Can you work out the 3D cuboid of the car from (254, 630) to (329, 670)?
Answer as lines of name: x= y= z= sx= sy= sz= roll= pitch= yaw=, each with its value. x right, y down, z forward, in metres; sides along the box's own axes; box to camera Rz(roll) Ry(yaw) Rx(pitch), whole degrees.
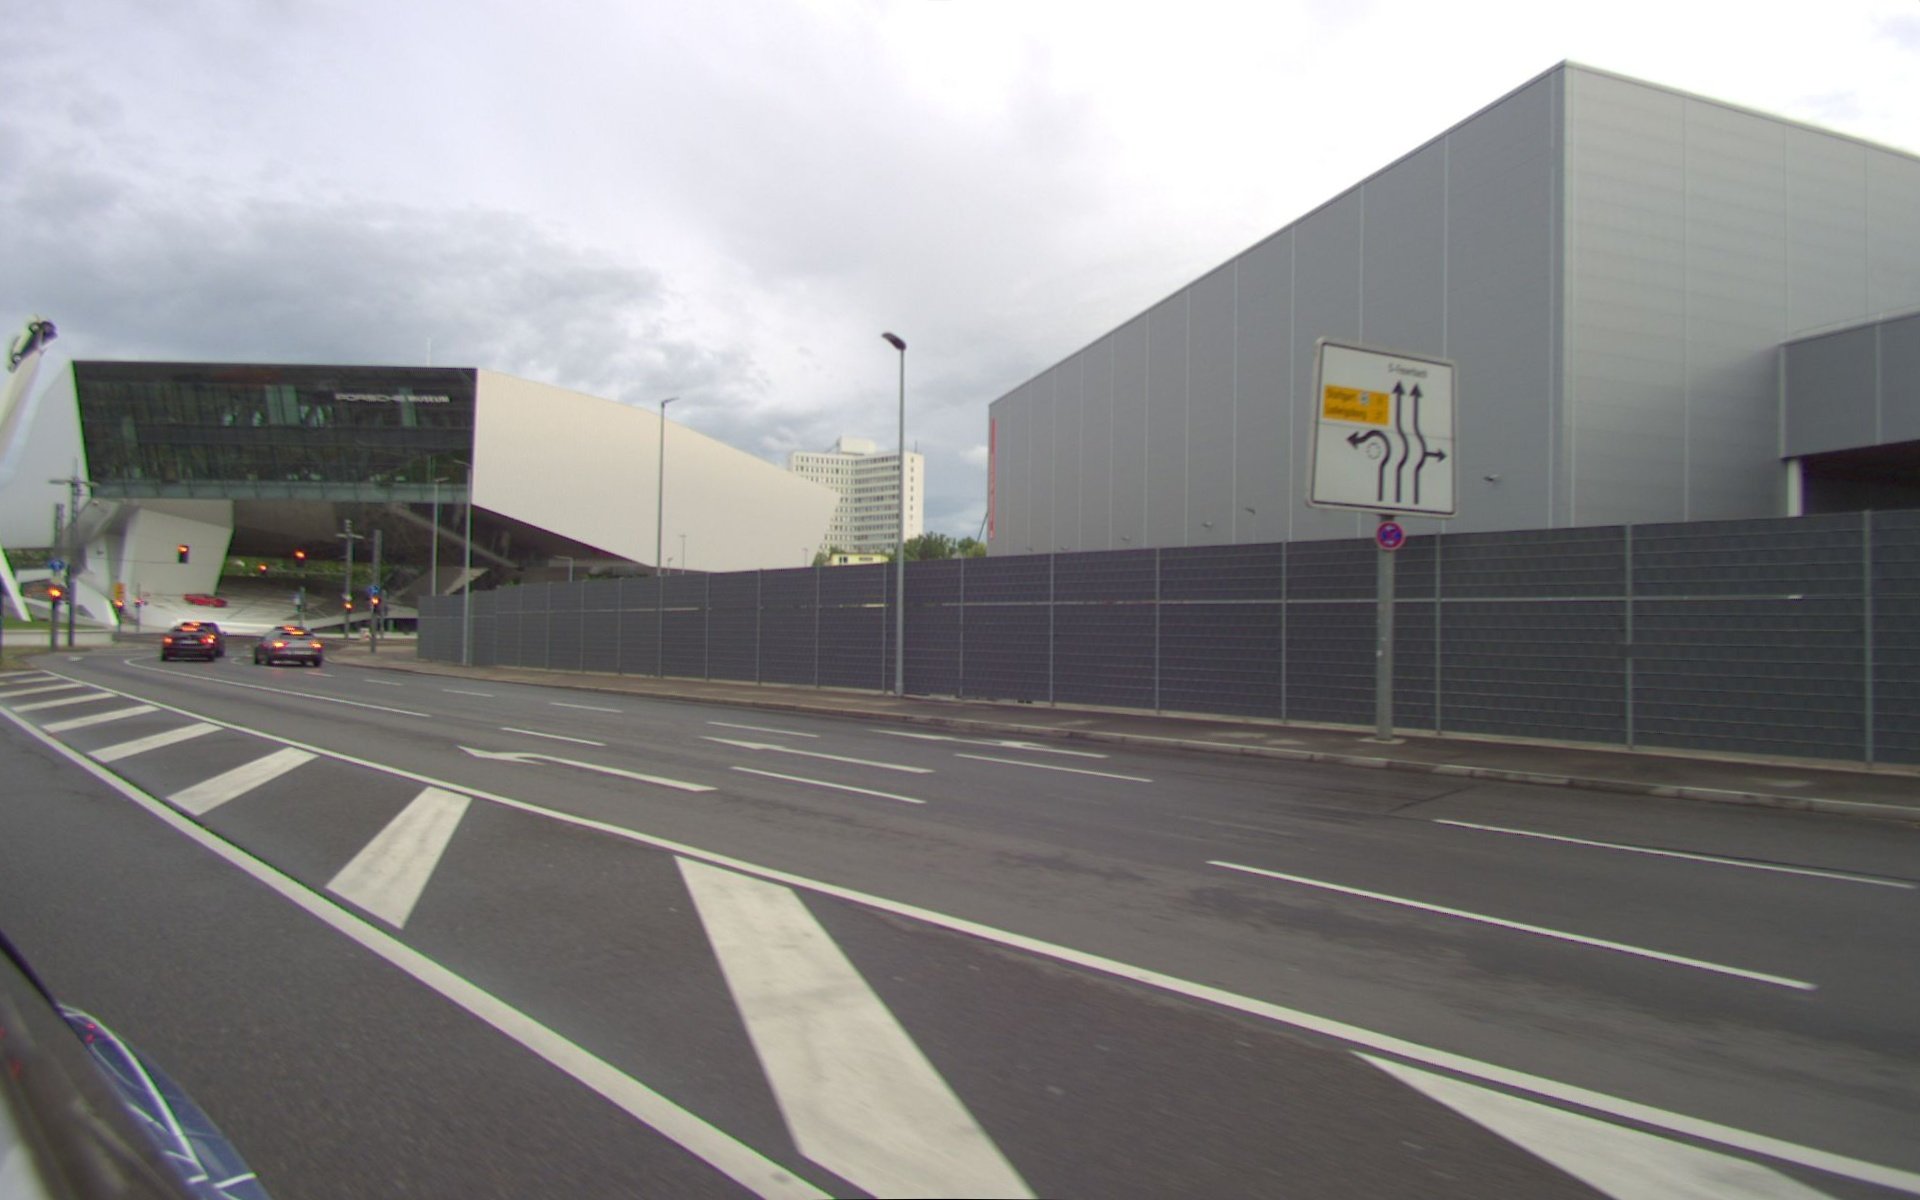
car: x=-26.124 y=1.923 z=39.684 sx=2.233 sy=1.488 sz=4.059 roll=2 pitch=-2 yaw=-30

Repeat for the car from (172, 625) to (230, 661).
car: x=-36.128 y=2.051 z=48.239 sx=1.850 sy=1.663 sz=3.863 roll=2 pitch=-3 yaw=-32

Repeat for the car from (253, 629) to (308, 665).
car: x=-32.543 y=2.256 z=48.552 sx=1.833 sy=1.663 sz=3.799 roll=2 pitch=-3 yaw=-29

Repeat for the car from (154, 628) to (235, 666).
car: x=-31.951 y=1.942 z=42.349 sx=2.221 sy=1.488 sz=3.891 roll=2 pitch=-2 yaw=-31
